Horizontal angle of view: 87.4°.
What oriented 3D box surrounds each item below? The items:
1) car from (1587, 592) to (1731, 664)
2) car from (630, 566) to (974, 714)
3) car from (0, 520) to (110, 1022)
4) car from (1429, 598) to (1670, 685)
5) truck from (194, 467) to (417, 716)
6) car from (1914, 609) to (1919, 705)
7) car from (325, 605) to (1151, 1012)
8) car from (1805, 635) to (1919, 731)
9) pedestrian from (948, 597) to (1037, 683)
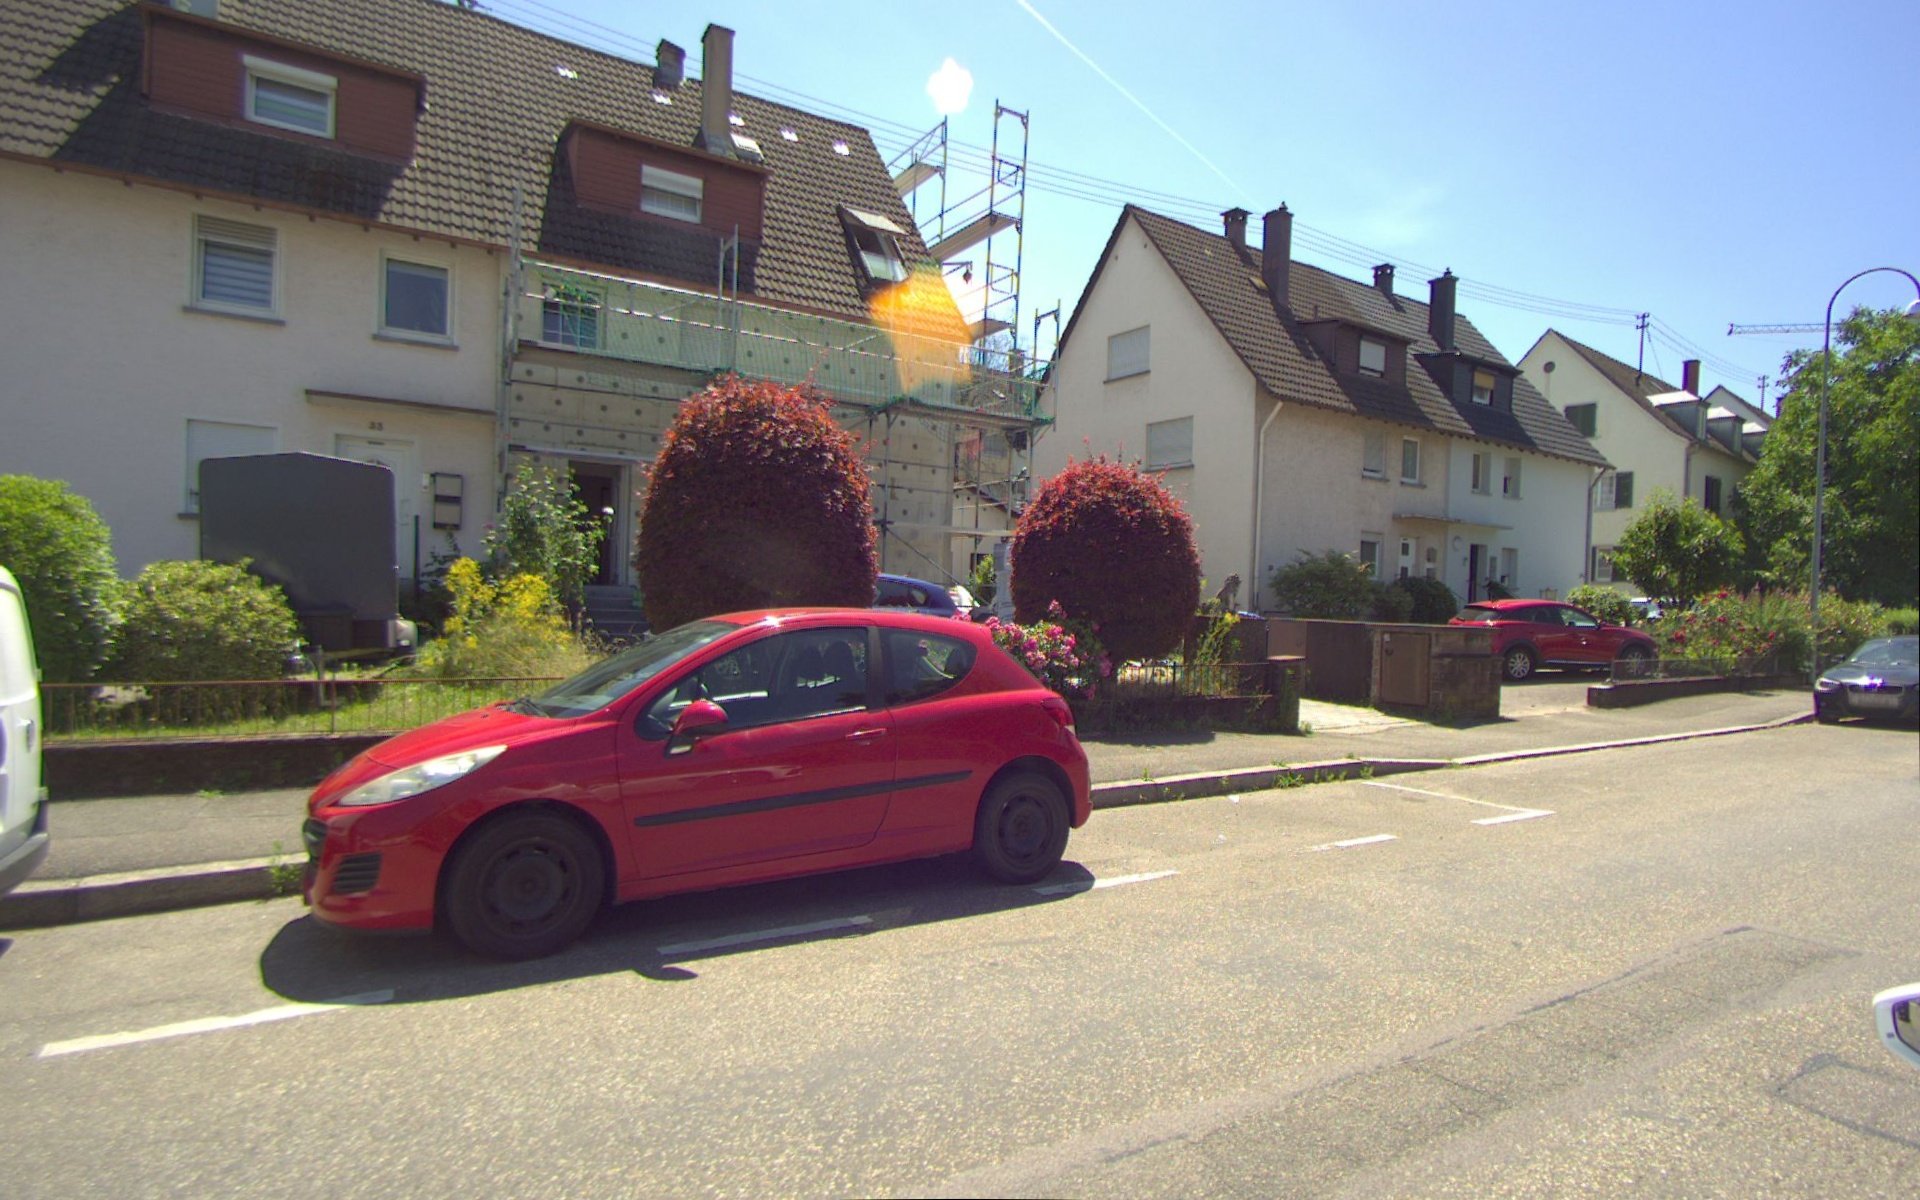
[{"bbox_3d":[20.165,0.814,28.965,3.949,1.895,1.708,2,1,-27],"label":"car"},{"bbox_3d":[-1.960,0.450,12.760,3.955,1.535,1.676,1,4,-32],"label":"car"},{"bbox_3d":[-5.276,0.582,3.025,3.841,1.759,1.715,1,-2,-30],"label":"car"},{"bbox_3d":[11.912,0.797,20.412,4.036,1.532,1.645,-1,4,-8],"label":"car"},{"bbox_3d":[-6.322,-0.054,9.950,1.528,1.963,3.750,1,0,-30],"label":"truck"},{"bbox_3d":[21.447,1.200,20.568,4.932,1.906,1.874,2,-1,-36],"label":"car"},{"bbox_3d":[-1.057,0.826,5.505,4.011,1.497,1.752,1,-2,-31],"label":"car"},{"bbox_3d":[15.546,1.285,16.335,4.192,1.402,1.688,2,-2,-34],"label":"car"},{"bbox_3d":[0.524,0.640,16.065,1.203,1.280,0.696,3,2,-44],"label":"pedestrian"}]
